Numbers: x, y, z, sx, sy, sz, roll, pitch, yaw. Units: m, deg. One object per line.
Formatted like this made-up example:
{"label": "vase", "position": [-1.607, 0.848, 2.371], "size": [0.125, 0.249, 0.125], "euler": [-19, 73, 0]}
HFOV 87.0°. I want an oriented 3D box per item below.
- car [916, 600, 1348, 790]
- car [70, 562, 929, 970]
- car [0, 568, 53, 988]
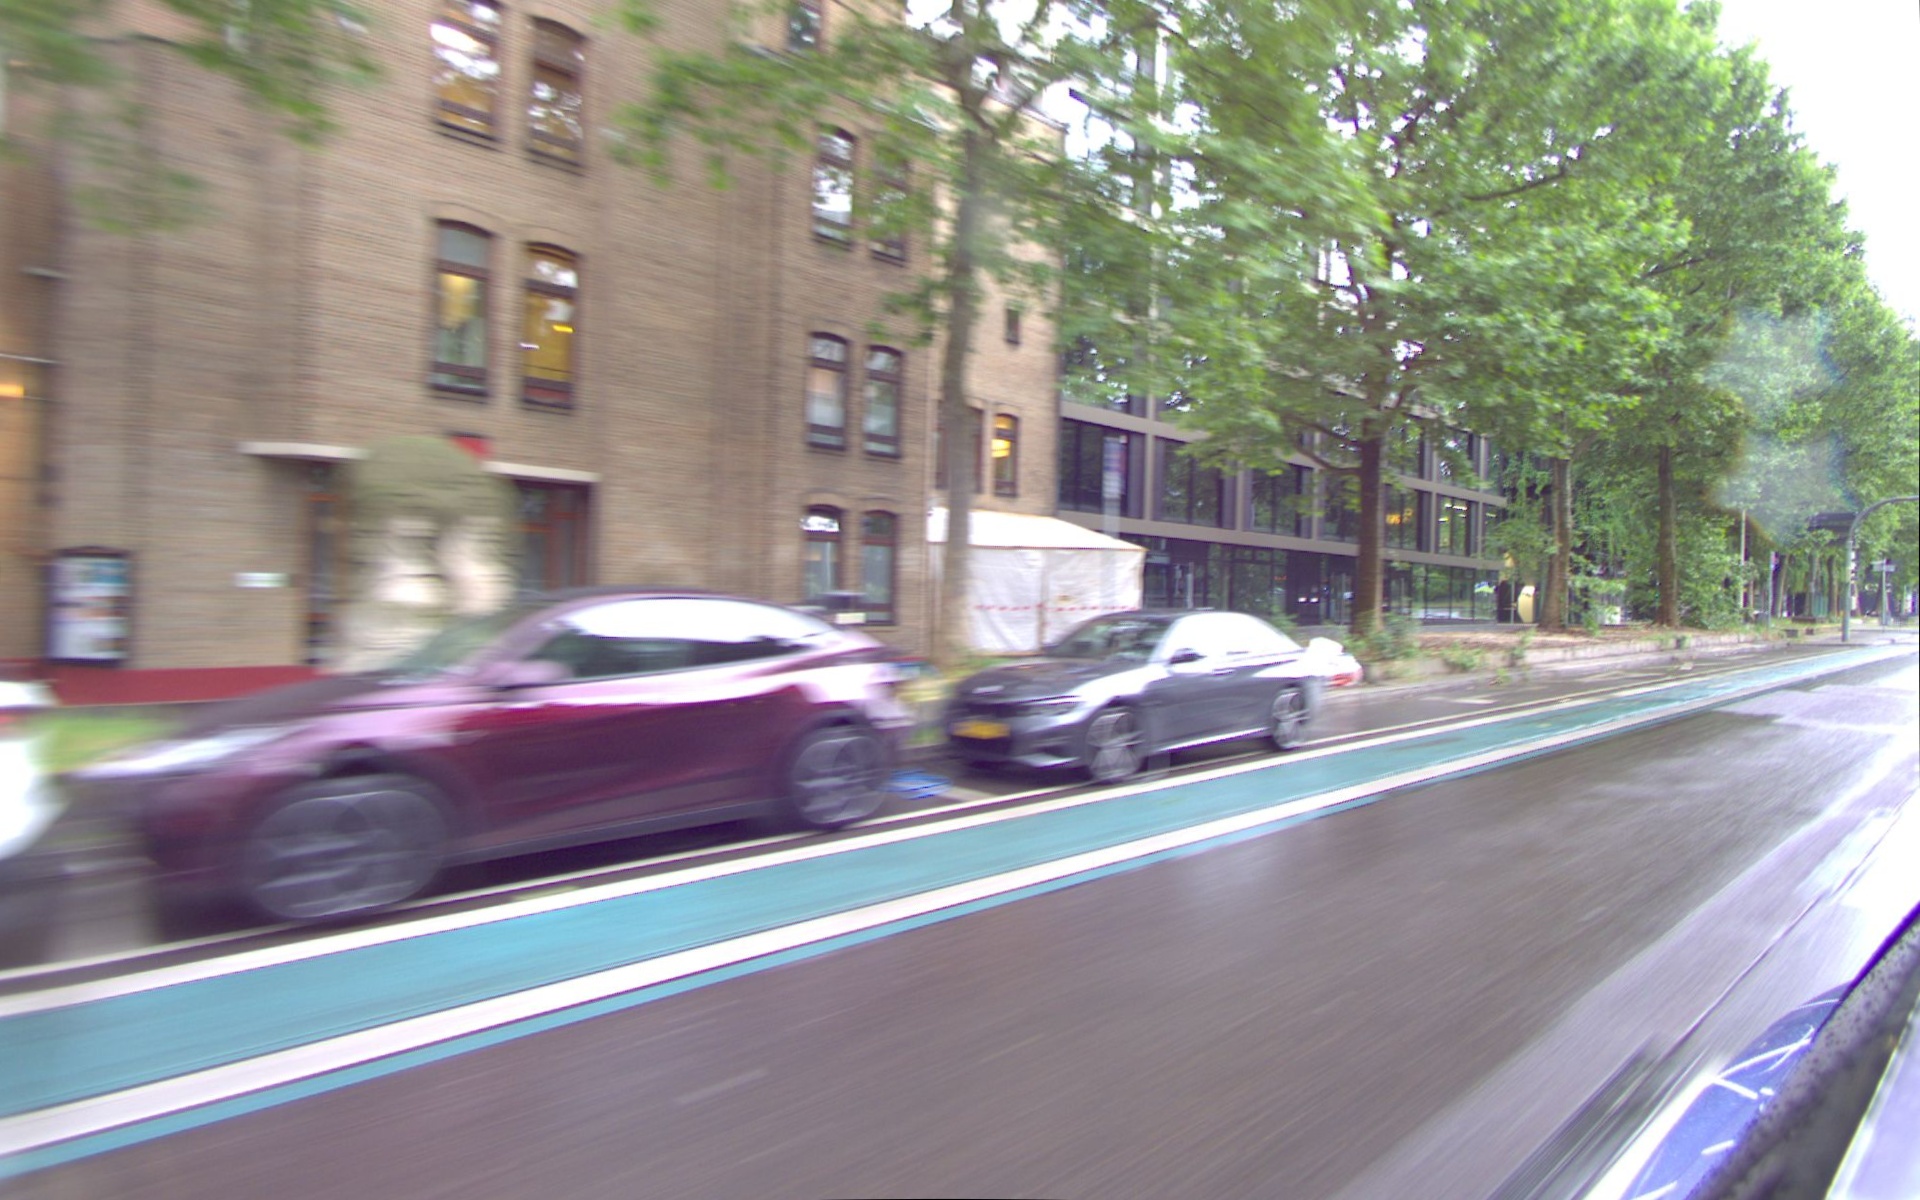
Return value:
{"label": "car", "position": [1.863, 0.734, 9.956], "size": [4.506, 1.451, 1.745], "euler": [0, 0, -41]}
{"label": "car", "position": [-2.504, 0.654, 6.306], "size": [4.486, 1.609, 1.995], "euler": [0, 0, -45]}
{"label": "car", "position": [-5.707, 0.679, 3.049], "size": [1.752, 1.605, 4.339], "euler": [0, -1, 45]}
